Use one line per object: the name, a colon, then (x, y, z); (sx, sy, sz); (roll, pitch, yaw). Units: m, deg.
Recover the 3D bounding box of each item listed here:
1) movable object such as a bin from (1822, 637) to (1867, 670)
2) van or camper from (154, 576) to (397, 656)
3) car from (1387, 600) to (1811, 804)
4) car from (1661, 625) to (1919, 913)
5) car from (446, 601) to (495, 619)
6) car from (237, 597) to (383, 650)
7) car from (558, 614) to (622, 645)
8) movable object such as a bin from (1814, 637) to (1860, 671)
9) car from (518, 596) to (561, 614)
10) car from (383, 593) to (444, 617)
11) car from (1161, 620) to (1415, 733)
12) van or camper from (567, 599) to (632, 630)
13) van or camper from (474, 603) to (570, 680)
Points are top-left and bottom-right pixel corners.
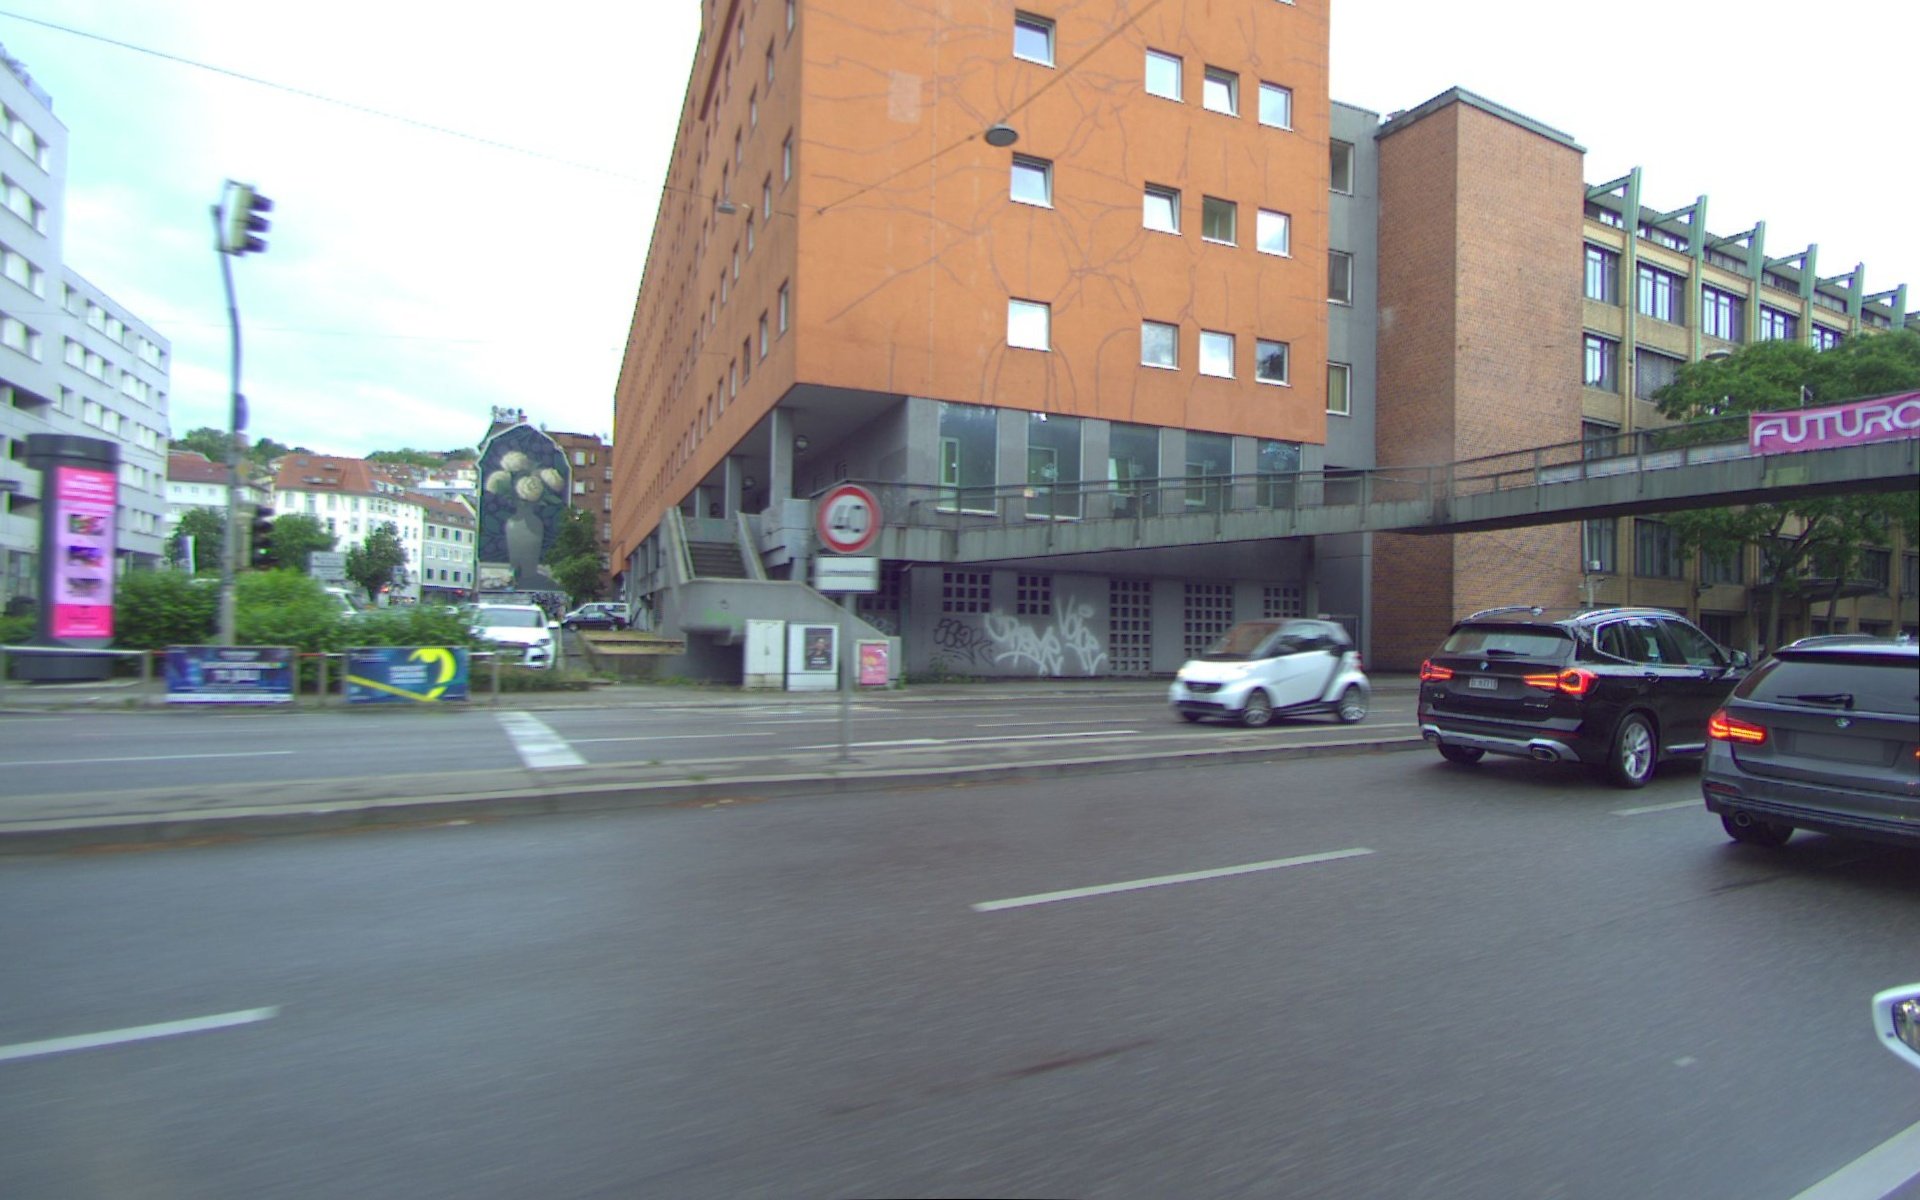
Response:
movable object such as a bin: (42.776, 2.598, 48.569); (1.200, 1.538, 1.293); (2, -1, -29)
van or camper: (-19.378, 0.457, 28.784); (5.378, 2.004, 2.120); (2, 1, -24)
car: (6.685, 0.951, 10.413); (4.391, 1.678, 1.801); (2, 1, -29)
car: (6.846, 0.985, 6.709); (4.423, 1.477, 1.769); (2, 0, -29)
car: (-46.738, 0.962, 95.989); (3.919, 1.583, 1.768); (3, 1, -21)
car: (-22.798, 0.822, 35.407); (4.029, 1.633, 1.705); (3, 1, -23)
car: (-25.336, 1.998, 68.899); (3.937, 1.907, 1.992); (3, 1, -18)
movable object such as a bin: (41.593, 2.552, 47.644); (1.257, 1.538, 1.277); (2, -1, -29)
car: (-43.298, 0.521, 103.412); (3.919, 1.583, 1.768); (3, 1, -21)
car: (-34.738, 0.317, 63.853); (3.122, 1.372, 1.396); (3, 1, -17)
car: (4.955, 1.118, 15.099); (3.667, 1.519, 1.594); (2, -3, -29)
van or camper: (-26.487, 1.079, 73.764); (4.314, 2.004, 1.963); (2, 1, -23)
van or camper: (-10.370, 0.934, 23.816); (1.888, 1.649, 3.977); (2, -1, -24)
